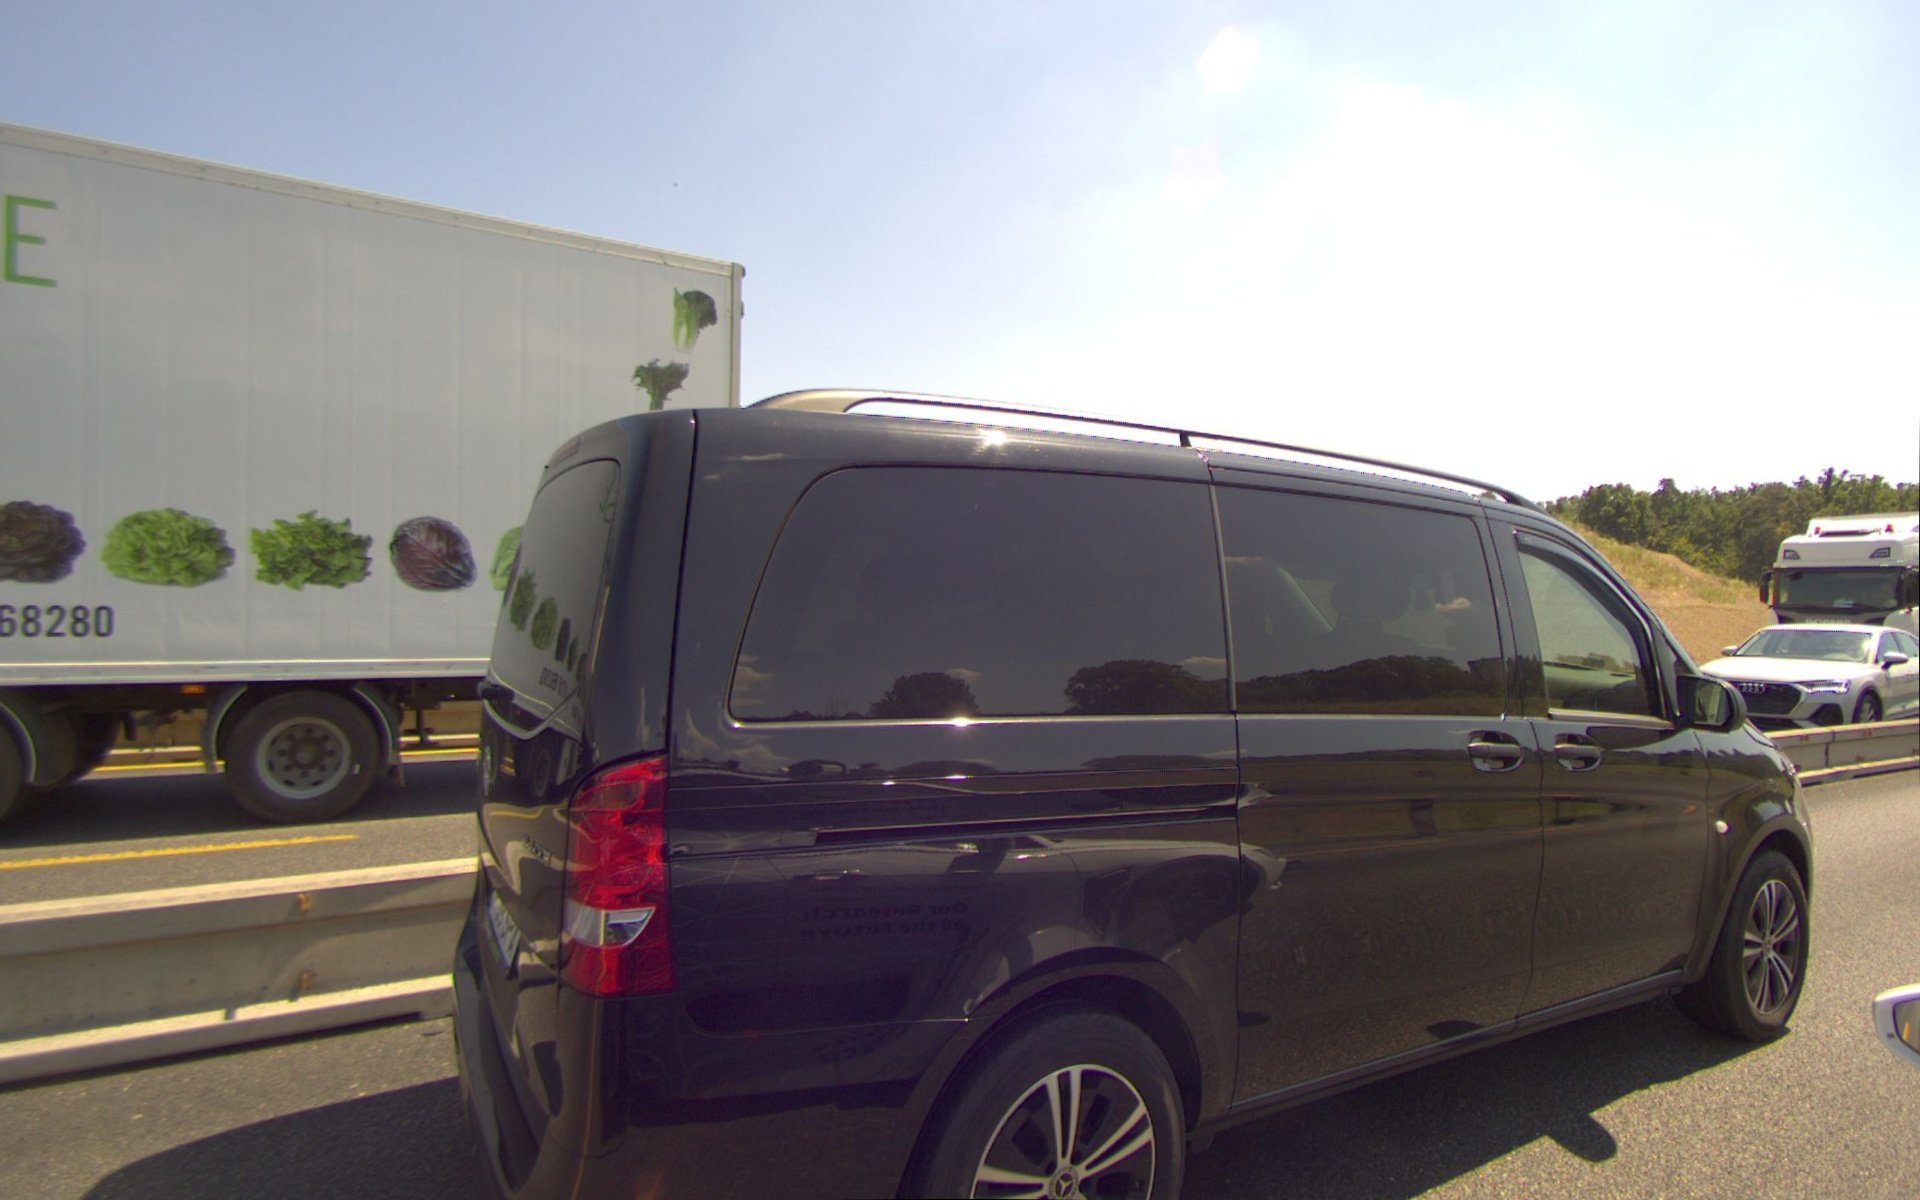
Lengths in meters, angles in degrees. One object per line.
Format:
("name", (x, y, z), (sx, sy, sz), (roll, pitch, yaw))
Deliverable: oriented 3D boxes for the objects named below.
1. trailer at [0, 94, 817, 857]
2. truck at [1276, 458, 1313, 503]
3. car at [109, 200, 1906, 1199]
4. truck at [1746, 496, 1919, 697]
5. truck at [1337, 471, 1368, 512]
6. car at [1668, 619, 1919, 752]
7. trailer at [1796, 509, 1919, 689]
("trailer", (-8.392, -0.747, 5.204), (15.351, 4.234, 2.491), (2, -2, -30))
("truck", (30.159, -10.646, 90.407), (2.317, 2.937, 8.362), (2, 0, 24))
("car", (0.885, 0.531, 3.359), (5.415, 1.876, 1.865), (2, 0, -31))
("truck", (20.620, -0.035, 22.887), (5.091, 4.108, 2.578), (1, 0, -31))
("truck", (36.746, -10.061, 93.894), (2.258, 2.785, 8.901), (2, 0, 24))
("car", (11.665, 1.091, 13.654), (4.195, 1.508, 1.798), (2, 0, -31))
("trailer", (26.794, 0.128, 26.581), (13.833, 3.991, 2.640), (2, 0, -31))
